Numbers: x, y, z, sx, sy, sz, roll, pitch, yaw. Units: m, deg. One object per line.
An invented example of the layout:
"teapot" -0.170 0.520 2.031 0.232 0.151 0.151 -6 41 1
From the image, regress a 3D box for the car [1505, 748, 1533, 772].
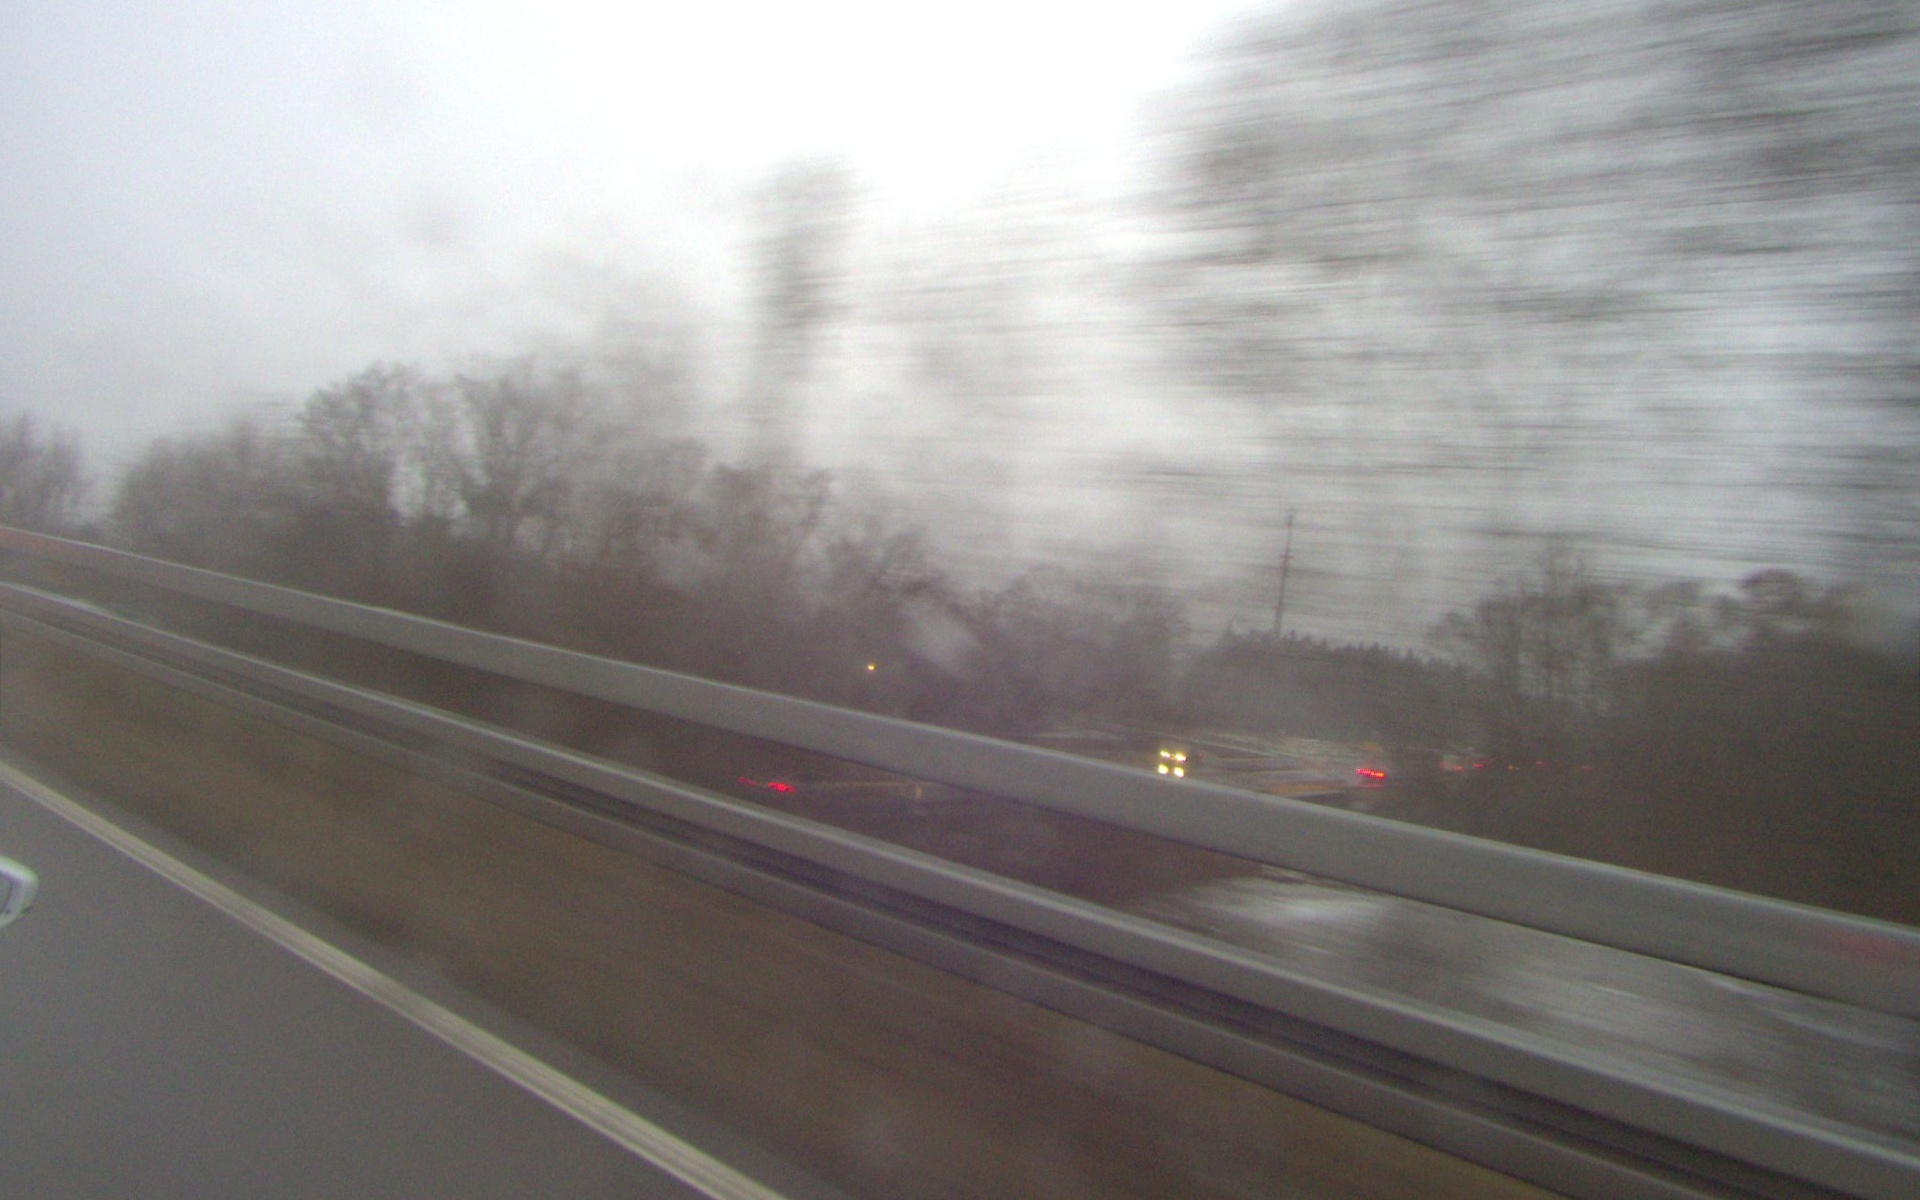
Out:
"car" 90.078 25.765 162.092 2.511 3.423 6.634 6 -2 40

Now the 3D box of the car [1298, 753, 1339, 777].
"car" 38.259 17.622 107.282 1.973 2.036 5.690 7 -3 43
